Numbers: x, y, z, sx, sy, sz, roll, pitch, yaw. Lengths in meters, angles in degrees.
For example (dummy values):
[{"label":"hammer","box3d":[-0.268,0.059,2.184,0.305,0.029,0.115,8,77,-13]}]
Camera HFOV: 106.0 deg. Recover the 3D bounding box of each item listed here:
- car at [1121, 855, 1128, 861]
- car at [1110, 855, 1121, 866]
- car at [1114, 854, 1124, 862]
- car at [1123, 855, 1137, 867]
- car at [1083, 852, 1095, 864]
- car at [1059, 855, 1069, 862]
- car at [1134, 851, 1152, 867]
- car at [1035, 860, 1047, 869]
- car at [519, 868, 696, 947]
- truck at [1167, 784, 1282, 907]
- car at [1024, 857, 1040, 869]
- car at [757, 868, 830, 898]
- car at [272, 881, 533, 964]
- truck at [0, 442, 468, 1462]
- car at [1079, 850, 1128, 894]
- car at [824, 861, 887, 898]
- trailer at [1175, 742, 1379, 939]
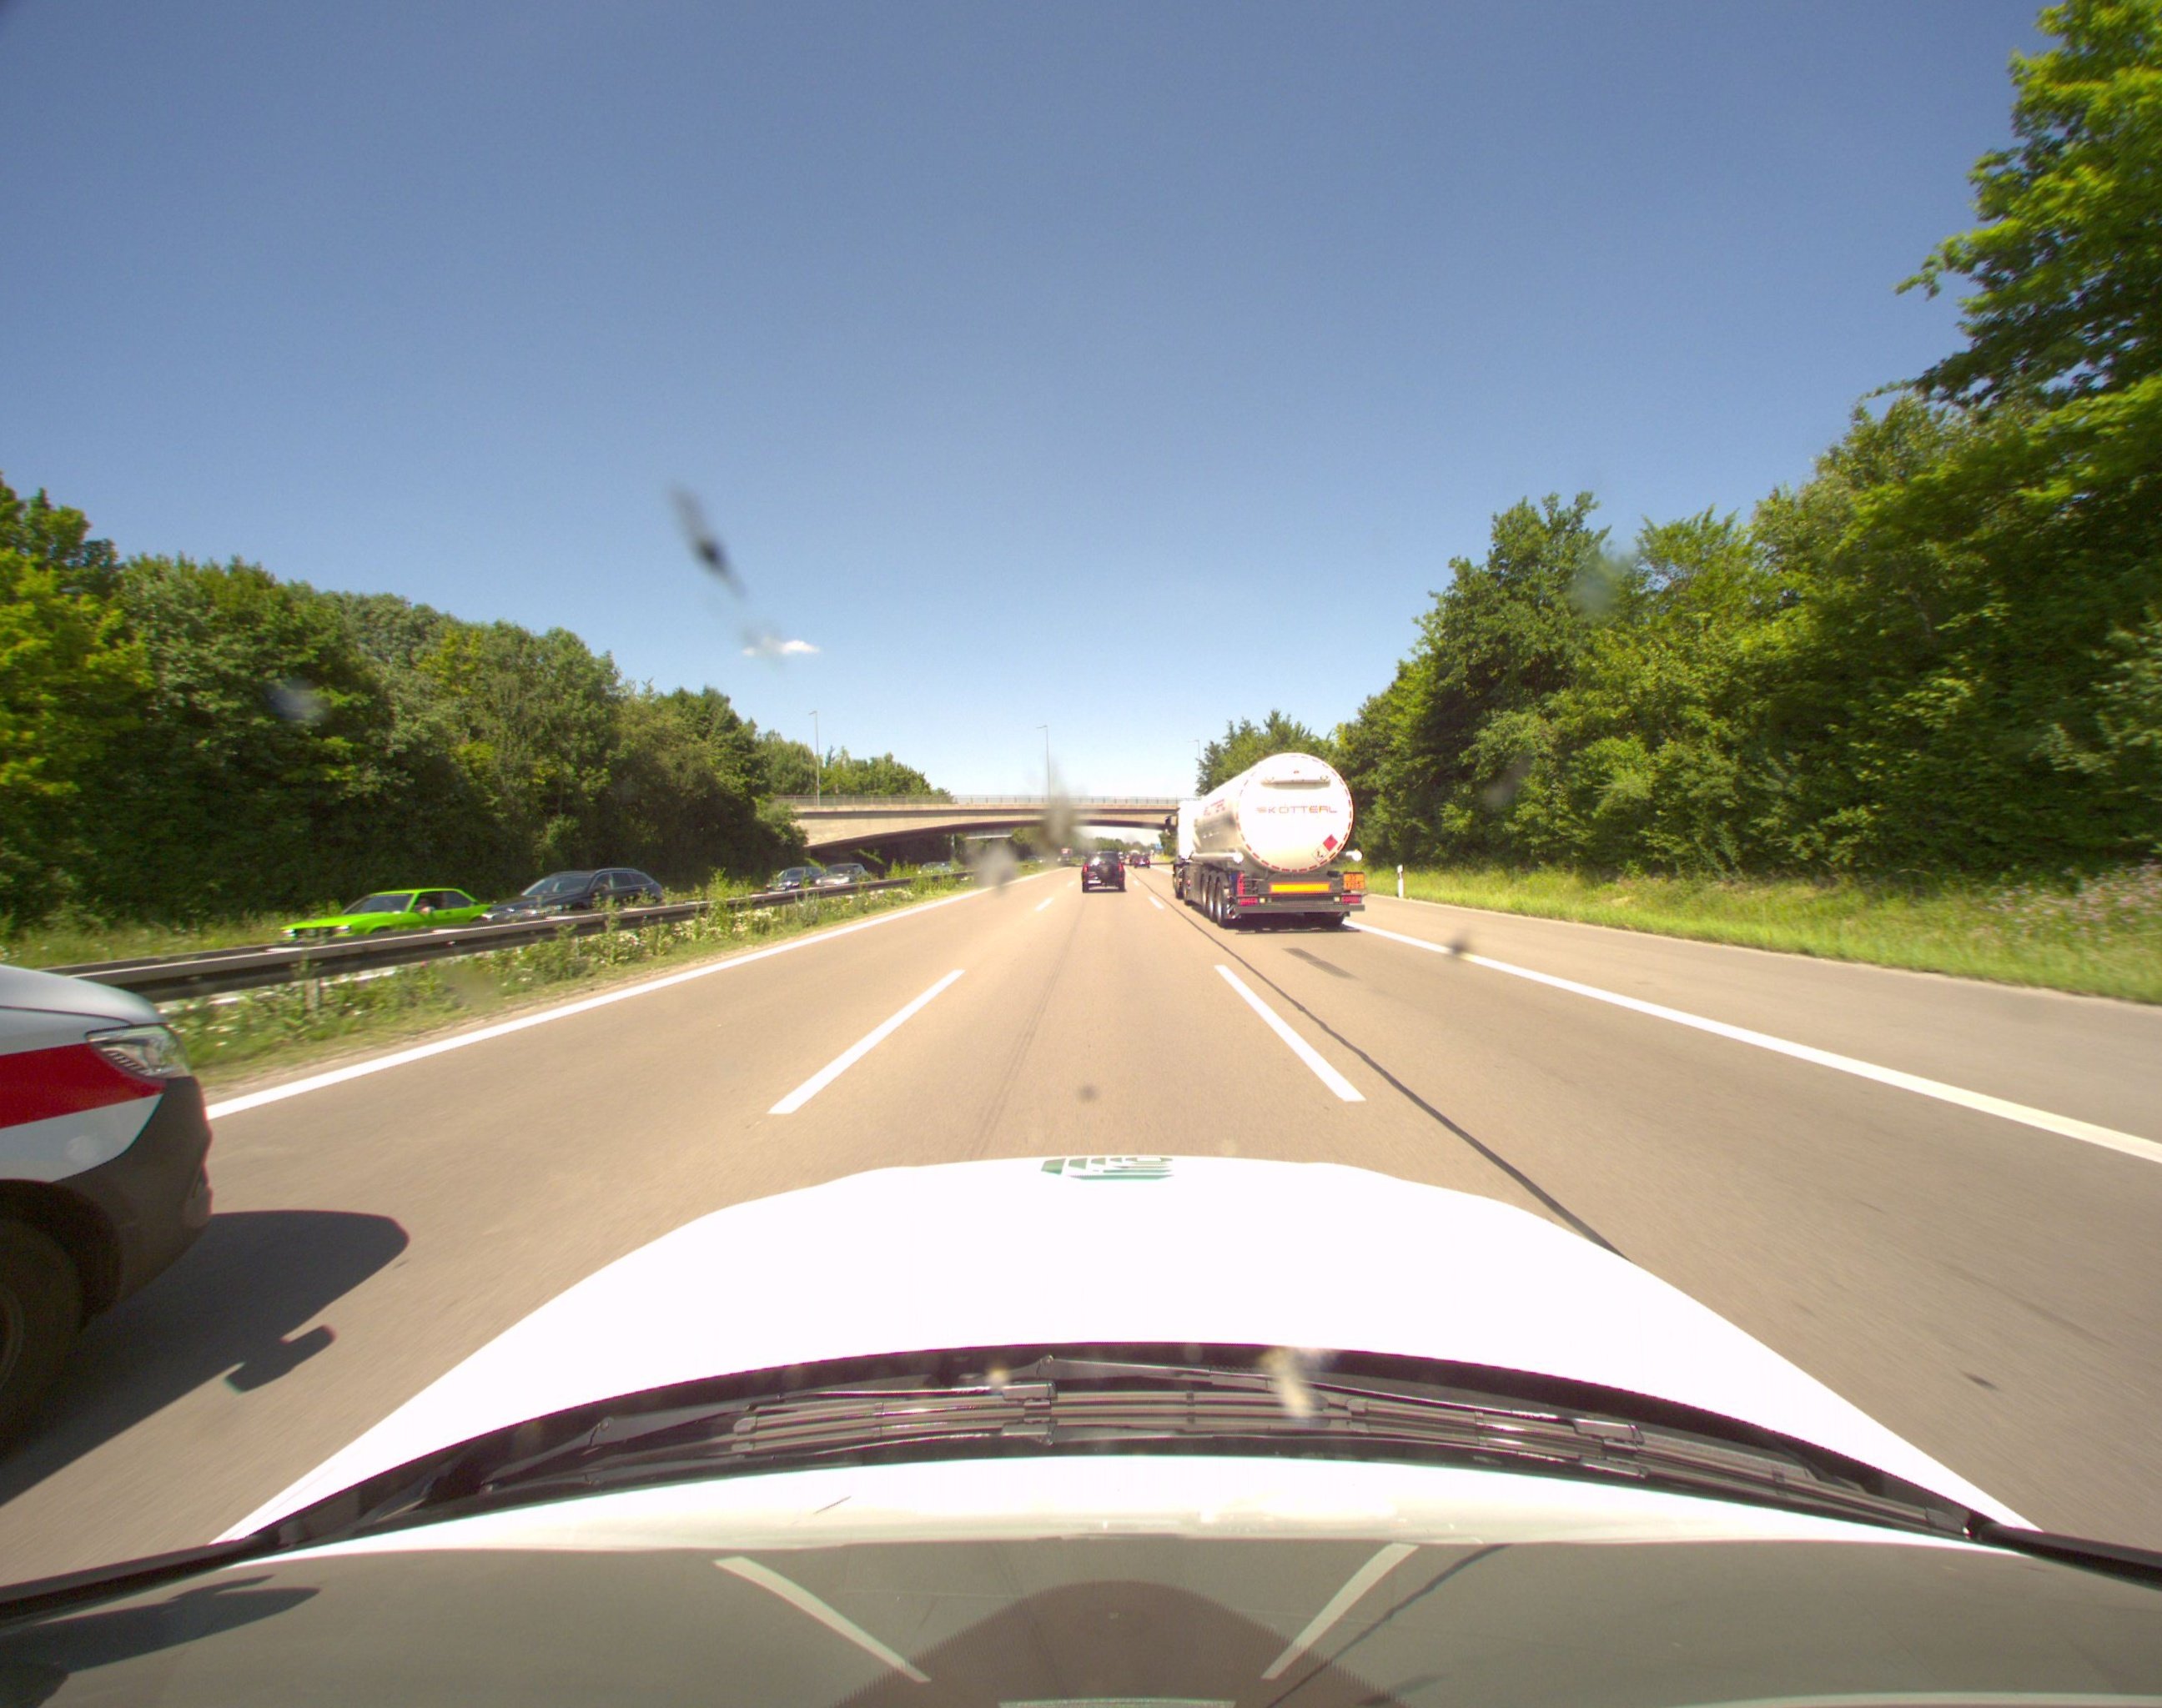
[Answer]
[{"label":"car","box3d":[13.635,1.241,254.450,1.806,1.746,4.001,-2,0,1]},{"label":"car","box3d":[6.507,1.230,154.108,1.986,2.013,4.770,-2,0,2]},{"label":"car","box3d":[8.817,0.865,189.032,1.986,1.750,4.206,-2,0,1]},{"label":"car","box3d":[6.689,0.975,111.225,1.835,1.611,4.002,-2,-1,3]},{"label":"car","box3d":[1.404,0.754,146.087,1.986,2.013,4.952,-3,0,2]},{"label":"car","box3d":[-3.782,0.971,179.427,1.852,1.527,4.754,-2,0,2]},{"label":"car","box3d":[6.992,0.549,92.140,1.985,1.684,4.003,-2,-1,3]},{"label":"car","box3d":[-7.924,2.124,161.650,1.892,1.641,4.001,-2,-1,2]},{"label":"car","box3d":[-11.724,1.242,20.531,1.986,1.693,4.001,-1,0,1]},{"label":"truck","box3d":[4.319,-0.216,25.856,2.628,3.375,6.489,-1,0,1]},{"label":"car","box3d":[-7.352,1.337,121.902,1.789,1.666,4.132,-2,0,3]},{"label":"car","box3d":[-14.719,1.454,41.974,1.986,1.396,4.660,-2,-1,2]},{"label":"car","box3d":[-15.050,1.429,18.523,1.737,1.427,4.806,-2,0,2]},{"label":"truck","box3d":[-3.706,0.246,0.204,1.987,2.542,6.692,0,0,0]},{"label":"car","box3d":[0.913,0.729,34.145,1.900,1.665,4.000,-2,0,1]},{"label":"car","box3d":[-10.991,1.203,39.930,1.865,1.693,4.001,-1,0,1]},{"label":"trailer","box3d":[4.070,-0.215,19.814,2.638,3.390,11.157,-1,0,2]}]
